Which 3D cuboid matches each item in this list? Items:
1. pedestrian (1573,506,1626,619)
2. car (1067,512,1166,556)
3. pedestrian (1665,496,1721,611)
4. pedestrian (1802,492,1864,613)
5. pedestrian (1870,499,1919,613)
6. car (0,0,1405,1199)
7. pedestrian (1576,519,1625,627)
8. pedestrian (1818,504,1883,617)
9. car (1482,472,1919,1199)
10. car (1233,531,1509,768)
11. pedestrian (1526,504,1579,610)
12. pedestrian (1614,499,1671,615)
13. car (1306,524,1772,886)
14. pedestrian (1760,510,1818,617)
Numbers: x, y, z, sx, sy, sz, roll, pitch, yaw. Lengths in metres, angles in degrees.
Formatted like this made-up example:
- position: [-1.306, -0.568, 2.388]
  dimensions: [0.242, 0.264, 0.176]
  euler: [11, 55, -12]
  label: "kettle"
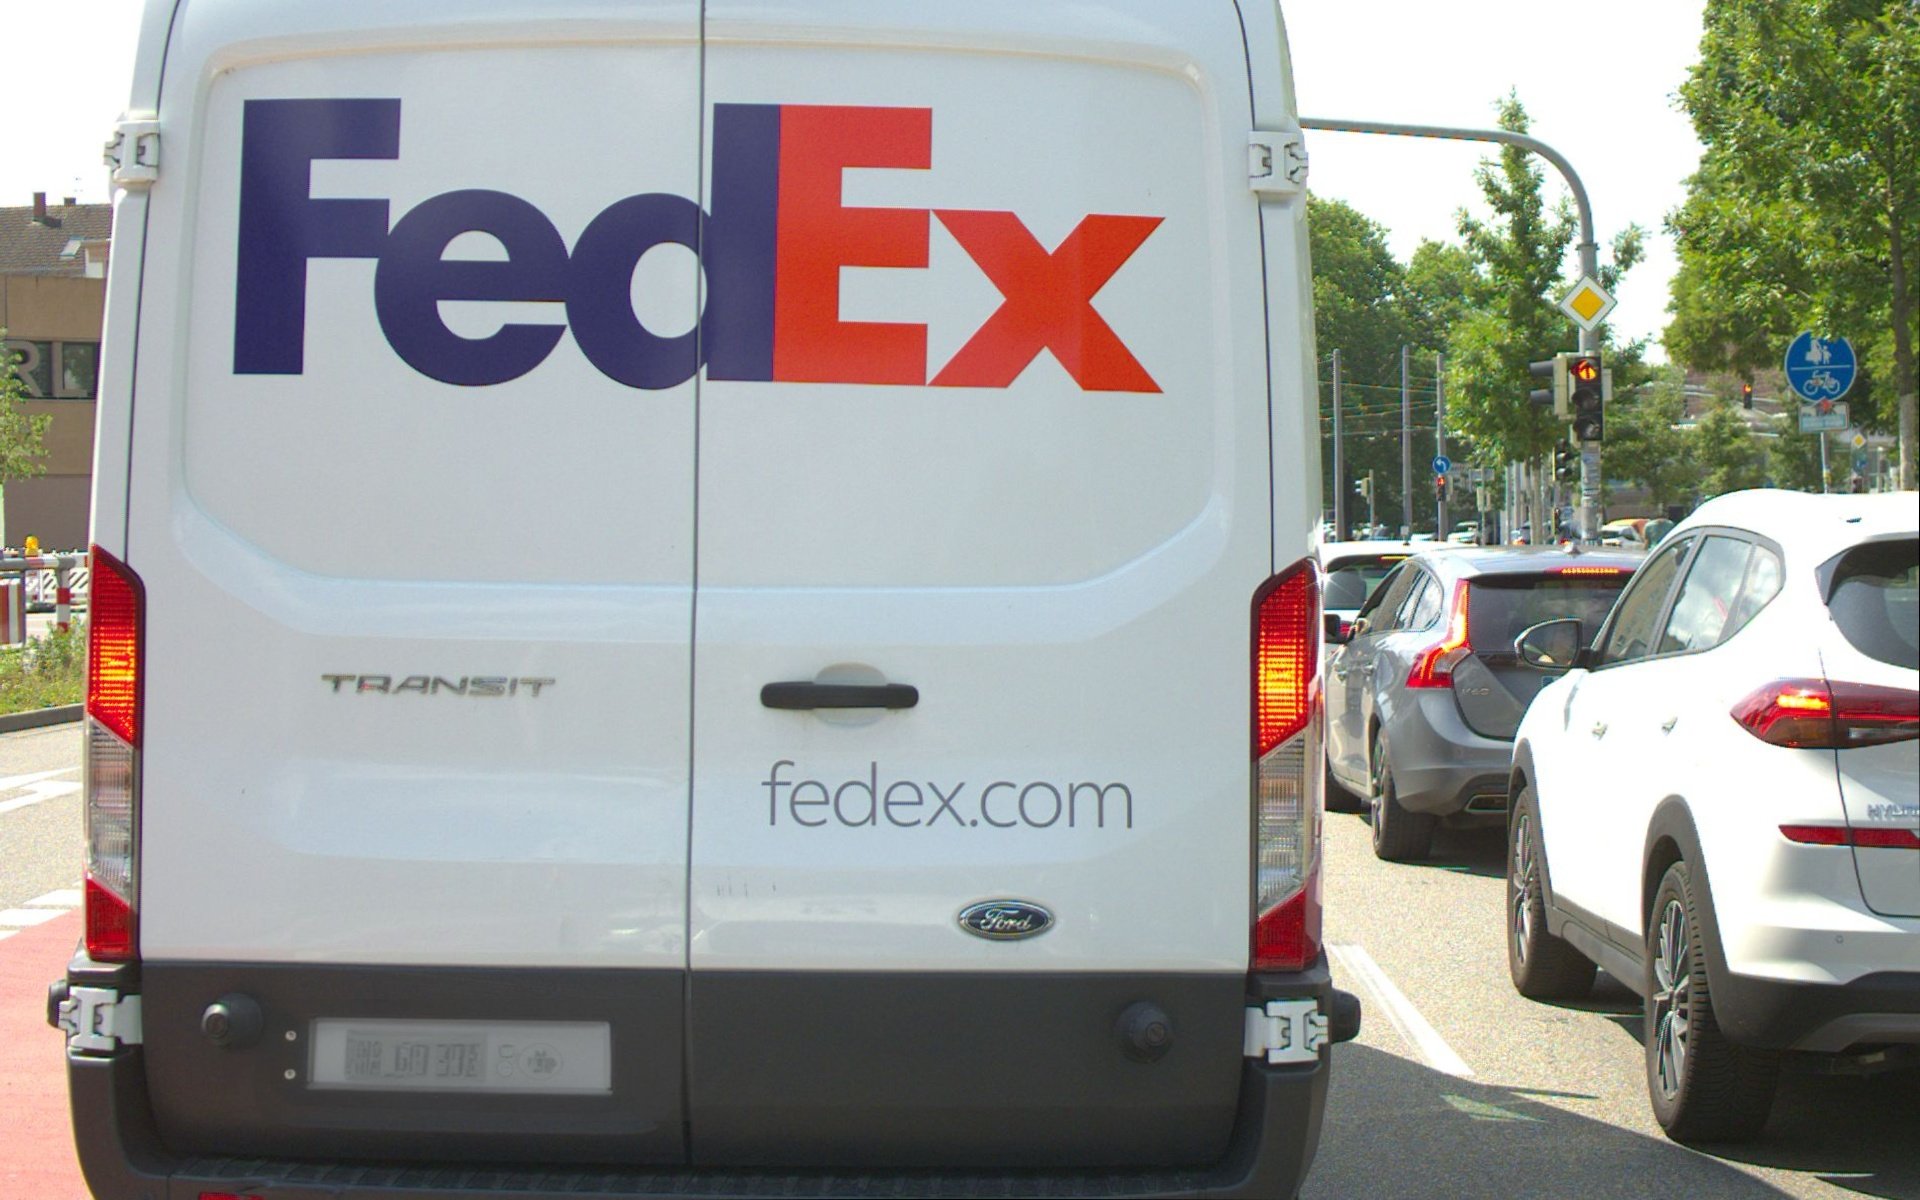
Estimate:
- position: [10.547, -0.616, 56.687]
  dimensions: [0.759, 1.843, 0.815]
  euler: [0, 1, 18]
  label: "pedestrian"
- position: [7.016, -2.959, 154.020]
  dimensions: [4.339, 1.865, 1.925]
  euler: [1, 0, 5]
  label: "car"
- position: [11.836, -0.755, 55.506]
  dimensions: [0.759, 1.843, 0.816]
  euler: [-1, 1, 3]
  label: "pedestrian"
- position: [12.932, -0.710, 50.959]
  dimensions: [0.759, 1.783, 0.816]
  euler: [0, 1, 5]
  label: "pedestrian"
- position: [15.467, -0.728, 56.427]
  dimensions: [0.758, 1.843, 0.816]
  euler: [-1, 1, -8]
  label: "pedestrian"
- position: [-0.358, 0.071, 7.217]
  dimensions: [2.072, 2.572, 4.428]
  euler: [0, 1, 1]
  label: "car"
- position: [11.004, -0.464, 59.046]
  dimensions: [0.759, 1.843, 0.816]
  euler: [0, 1, 15]
  label: "pedestrian"
- position: [14.607, -0.653, 56.403]
  dimensions: [0.758, 1.843, 0.816]
  euler: [-1, 1, -10]
  label: "pedestrian"
- position: [2.646, 0.495, 9.646]
  dimensions: [1.814, 1.673, 3.974]
  euler: [0, 1, 1]
  label: "car"
- position: [2.720, 0.275, 23.338]
  dimensions: [1.499, 1.459, 3.474]
  euler: [0, 1, 1]
  label: "car"
- position: [10.326, -0.754, 59.892]
  dimensions: [0.813, 1.843, 0.761]
  euler: [-1, 1, 3]
  label: "pedestrian"
- position: [10.936, -0.696, 55.099]
  dimensions: [0.759, 1.843, 0.816]
  euler: [-1, 1, 1]
  label: "pedestrian"
- position: [2.696, 0.414, 16.750]
  dimensions: [1.691, 1.543, 3.720]
  euler: [0, 1, 1]
  label: "car"
- position: [14.461, -0.650, 59.968]
  dimensions: [0.758, 1.843, 0.816]
  euler: [-1, 1, -4]
  label: "pedestrian"
